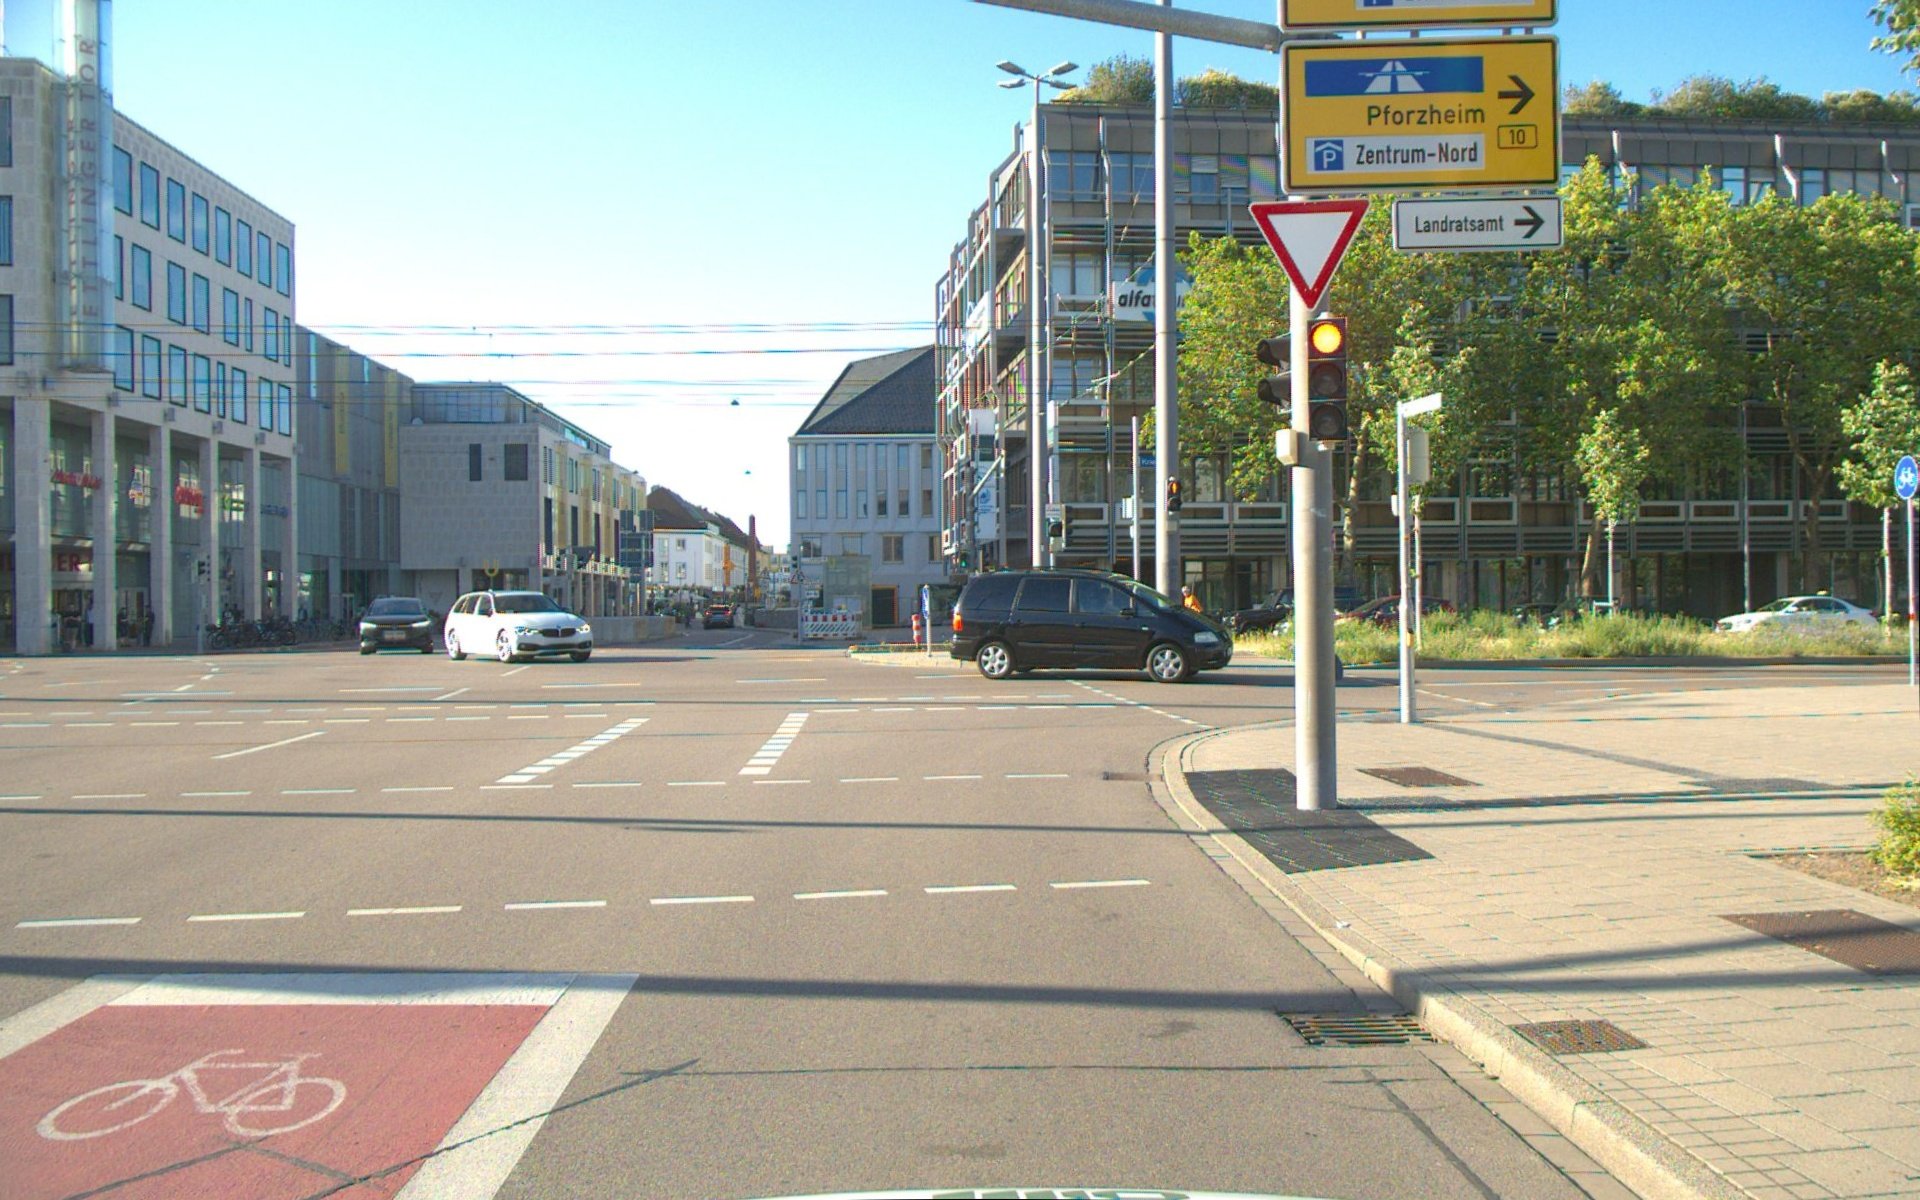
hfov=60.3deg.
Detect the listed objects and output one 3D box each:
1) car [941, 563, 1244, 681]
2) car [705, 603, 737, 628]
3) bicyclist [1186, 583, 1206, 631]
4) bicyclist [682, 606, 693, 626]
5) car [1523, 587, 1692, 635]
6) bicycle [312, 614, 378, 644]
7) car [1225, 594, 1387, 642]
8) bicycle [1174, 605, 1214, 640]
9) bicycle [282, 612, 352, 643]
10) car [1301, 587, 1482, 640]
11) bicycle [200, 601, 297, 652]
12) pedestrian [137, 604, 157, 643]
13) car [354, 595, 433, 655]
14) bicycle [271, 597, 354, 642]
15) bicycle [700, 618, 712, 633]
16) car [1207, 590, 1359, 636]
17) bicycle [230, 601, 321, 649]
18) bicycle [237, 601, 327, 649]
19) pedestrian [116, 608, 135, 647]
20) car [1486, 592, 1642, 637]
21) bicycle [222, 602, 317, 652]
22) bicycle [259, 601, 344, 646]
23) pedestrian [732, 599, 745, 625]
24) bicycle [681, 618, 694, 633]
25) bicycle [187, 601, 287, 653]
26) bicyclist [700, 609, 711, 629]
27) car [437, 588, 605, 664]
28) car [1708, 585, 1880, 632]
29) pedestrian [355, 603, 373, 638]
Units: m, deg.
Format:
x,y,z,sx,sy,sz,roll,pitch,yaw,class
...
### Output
x,y,z,sx,sy,sz,roll,pitch,yaw,class
2.161,0.301,26.762,4.534,1.772,2.001,0,2,19,car
-15.610,0.993,108.007,1.956,1.579,3.994,-1,0,-7,car
6.741,0.201,47.300,0.498,1.361,0.452,-1,0,1,bicyclist
-20.271,1.210,123.117,0.731,1.486,0.766,-1,0,-4,bicyclist
20.357,0.327,52.100,4.541,1.380,1.998,0,2,-6,car
-31.335,1.481,84.317,2.992,1.425,0.901,-1,0,-6,bicycle
10.682,0.540,51.187,4.541,1.380,1.998,0,2,-6,car
6.693,0.646,47.295,1.054,0.988,0.458,-1,0,0,bicycle
-31.057,1.315,79.900,2.992,1.425,0.901,-1,0,-6,bicycle
12.080,0.364,46.505,4.541,1.380,1.998,0,2,-6,car
-29.853,1.119,69.476,3.551,2.049,1.085,-1,0,-6,bicycle
-34.517,0.973,70.207,0.618,1.636,0.645,-1,0,-37,pedestrian
-15.585,0.651,45.423,1.964,1.557,4.011,-1,0,-20,car
-30.880,0.908,78.930,3.551,2.049,0.901,-1,0,-6,bicycle
-19.040,1.885,123.916,0.727,1.064,2.429,-1,0,-5,bicycle
10.535,0.410,54.095,4.541,1.380,1.998,0,2,-6,car
-30.563,1.115,73.858,3.551,2.049,1.085,-1,0,-6,bicycle
-30.720,1.126,75.001,3.551,2.049,1.085,-1,0,-6,bicycle
-35.027,1.148,69.435,0.618,1.636,0.645,-1,0,-37,pedestrian
20.315,0.475,55.696,4.541,1.380,1.998,0,2,-6,car
-29.614,1.158,70.945,3.551,2.049,1.085,-1,0,-6,bicycle
-30.684,1.090,77.093,3.551,2.049,0.901,-1,0,-6,bicycle
-14.503,0.792,108.253,0.700,1.697,0.987,-1,0,-1,pedestrian
-20.289,1.919,123.122,0.727,1.064,2.429,-1,0,-5,bicycle
-29.768,1.088,68.141,3.554,2.049,1.084,-1,0,-10,bicycle
-19.038,1.439,123.622,0.731,1.486,0.766,-1,0,-4,bicyclist
-9.204,0.482,34.427,1.977,1.380,4.590,-1,2,-35,car
26.466,0.252,52.549,4.541,1.380,1.998,0,2,-6,car
-28.739,0.993,79.794,0.734,1.636,0.619,-1,0,-29,pedestrian
